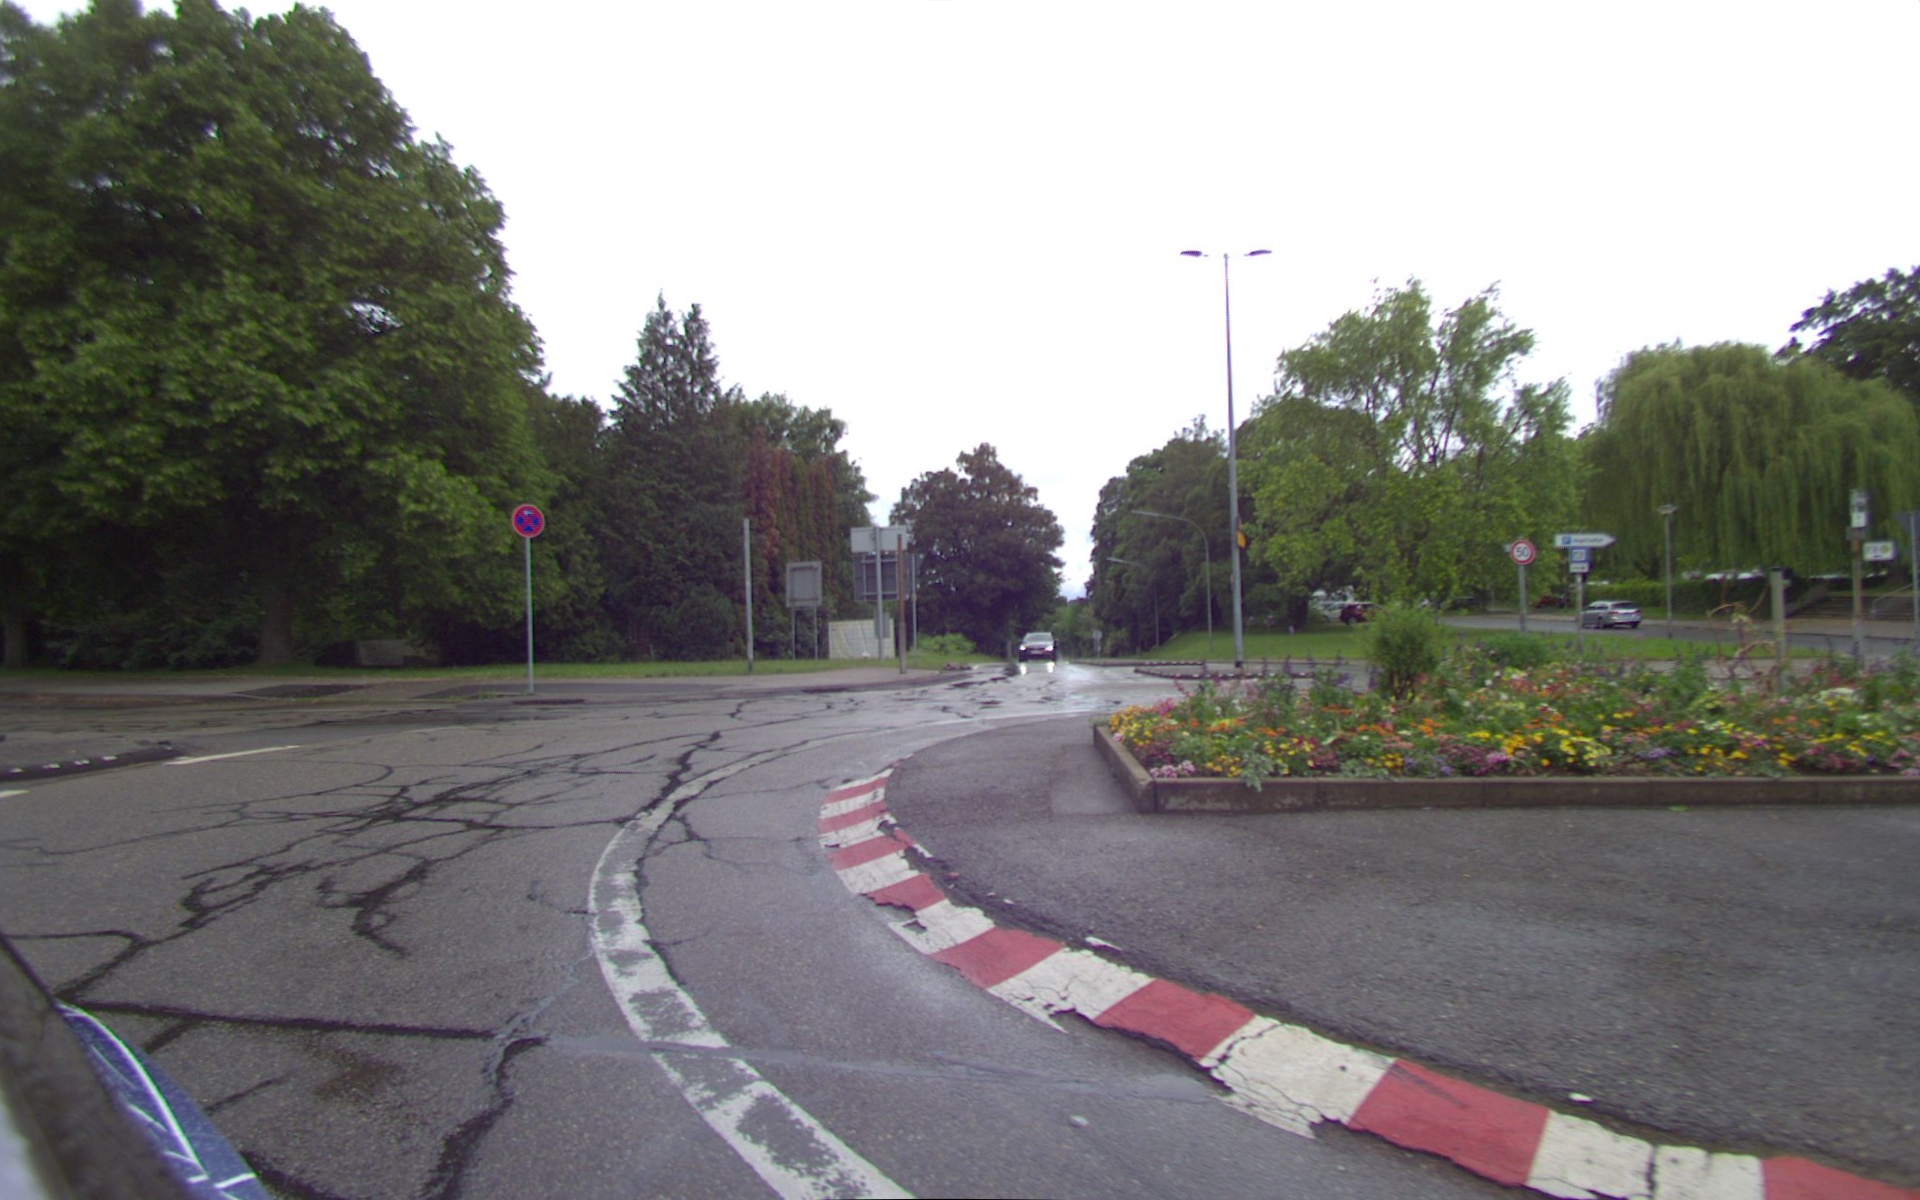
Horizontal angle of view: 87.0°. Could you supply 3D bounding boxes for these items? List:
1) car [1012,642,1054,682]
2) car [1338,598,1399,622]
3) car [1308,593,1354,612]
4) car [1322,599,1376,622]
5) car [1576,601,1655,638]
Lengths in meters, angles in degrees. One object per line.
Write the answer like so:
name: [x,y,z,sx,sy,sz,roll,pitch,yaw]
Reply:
car: [3.320,2.742,45.455,1.694,1.430,3.992,-1,1,7]
car: [27.957,0.688,69.366,3.601,1.606,1.798,-1,1,15]
car: [32.820,0.194,89.603,3.601,1.606,1.798,-1,1,15]
car: [29.479,0.785,76.736,3.601,1.606,1.798,-1,1,15]
car: [34.905,1.002,54.035,1.977,1.754,4.133,-1,1,9]
